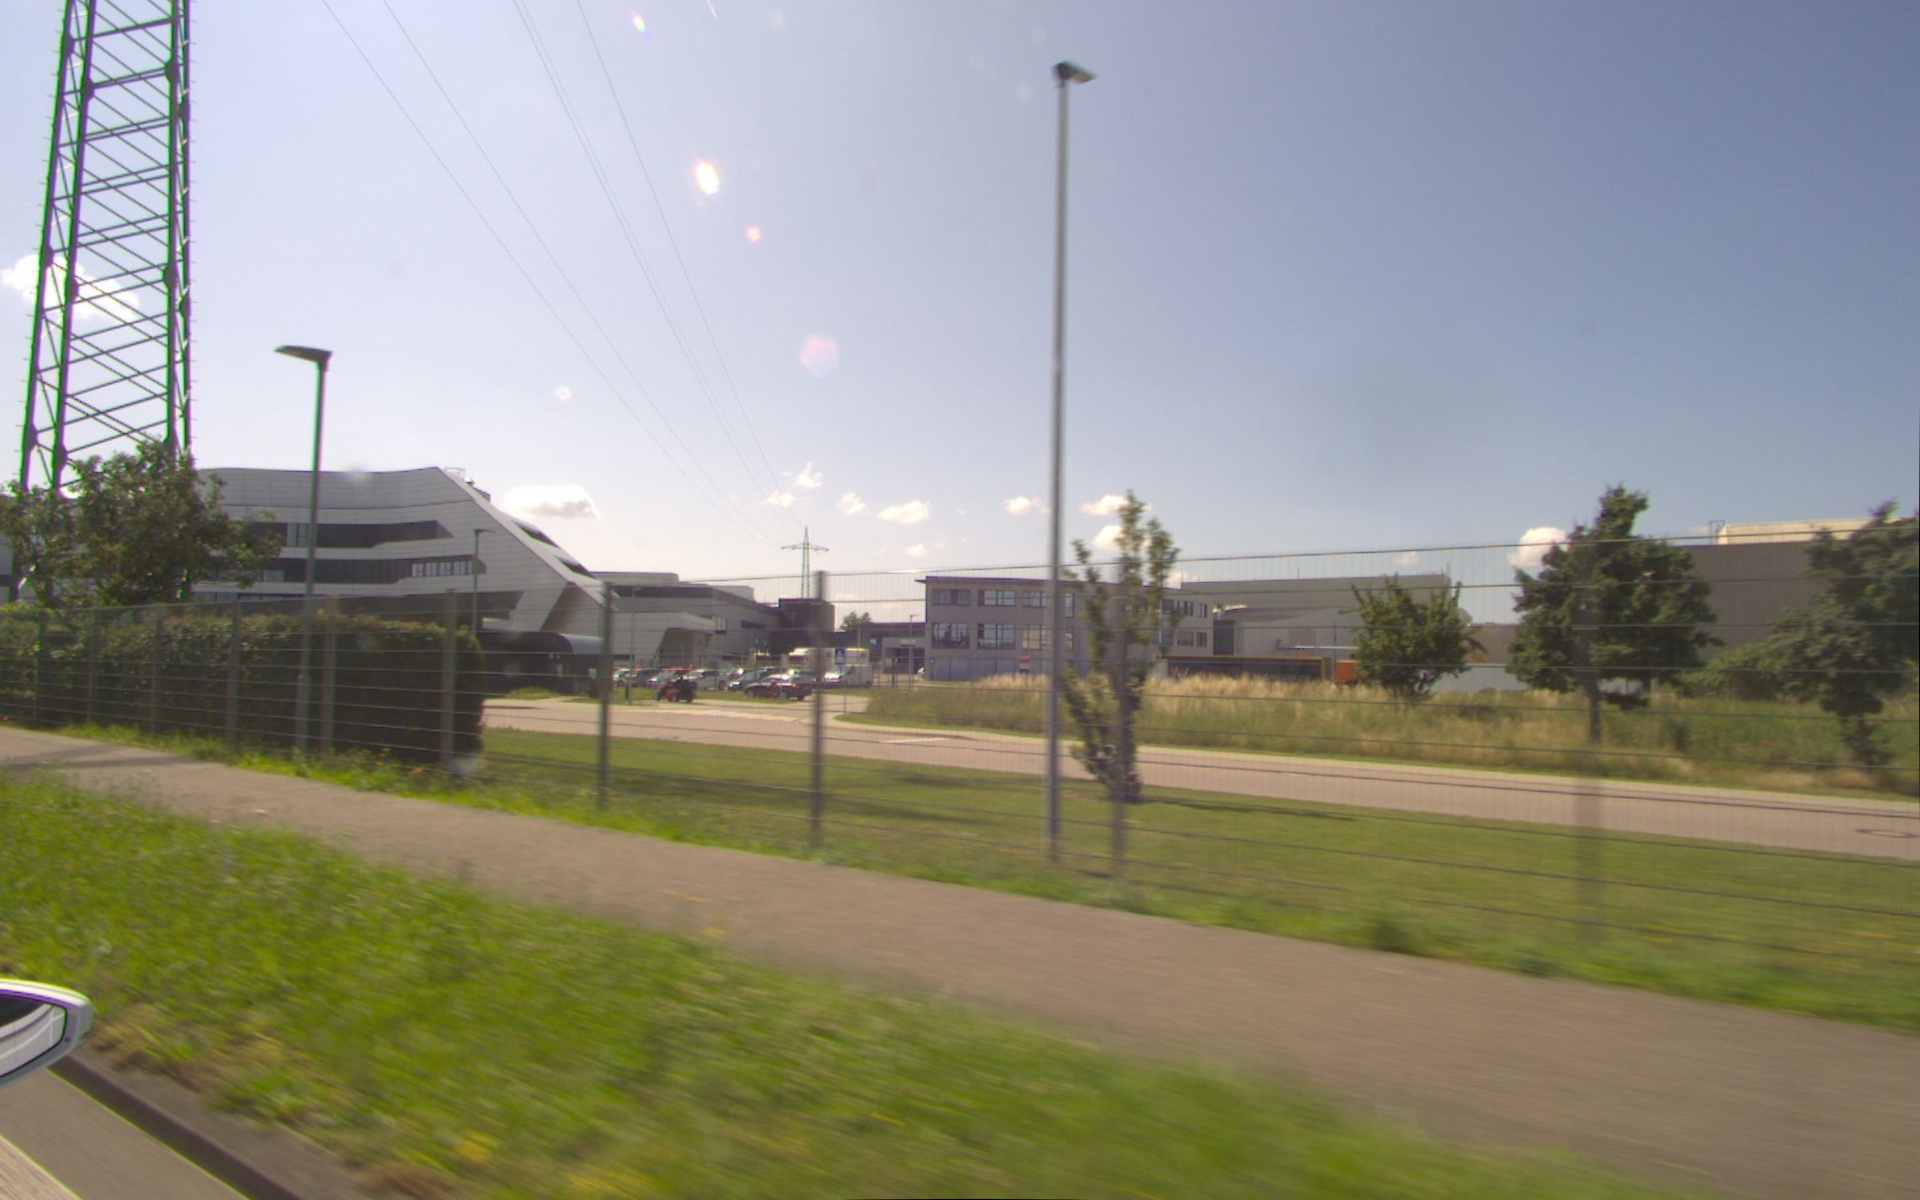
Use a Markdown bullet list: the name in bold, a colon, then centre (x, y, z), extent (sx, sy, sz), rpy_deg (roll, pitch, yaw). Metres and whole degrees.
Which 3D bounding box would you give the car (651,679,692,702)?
- **car**: centre (-16.471, 5.144, 57.162), extent (2.167, 1.168, 1.192), rpy_deg (-2, -3, 37)

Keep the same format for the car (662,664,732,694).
- **car**: centre (-18.509, 5.606, 70.749), extent (1.971, 2.037, 4.736), rpy_deg (0, -5, 31)

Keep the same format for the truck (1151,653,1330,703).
- **truck**: centre (21.571, 6.000, 77.947), extent (13.437, 3.402, 1.991), rpy_deg (-1, -4, 33)

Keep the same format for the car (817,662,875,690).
- **car**: centre (-8.760, 5.929, 77.430), extent (1.971, 2.037, 4.736), rpy_deg (0, -5, 31)

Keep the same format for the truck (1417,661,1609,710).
- **truck**: centre (38.560, 5.911, 70.301), extent (11.684, 2.997, 1.991), rpy_deg (-1, -4, 33)

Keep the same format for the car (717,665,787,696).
- **car**: centre (-14.173, 5.526, 68.625), extent (1.971, 2.037, 4.736), rpy_deg (0, -5, 31)

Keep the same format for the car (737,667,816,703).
- **car**: centre (-11.433, 5.260, 62.393), extent (4.686, 2.038, 1.992), rpy_deg (-1, -4, 33)
